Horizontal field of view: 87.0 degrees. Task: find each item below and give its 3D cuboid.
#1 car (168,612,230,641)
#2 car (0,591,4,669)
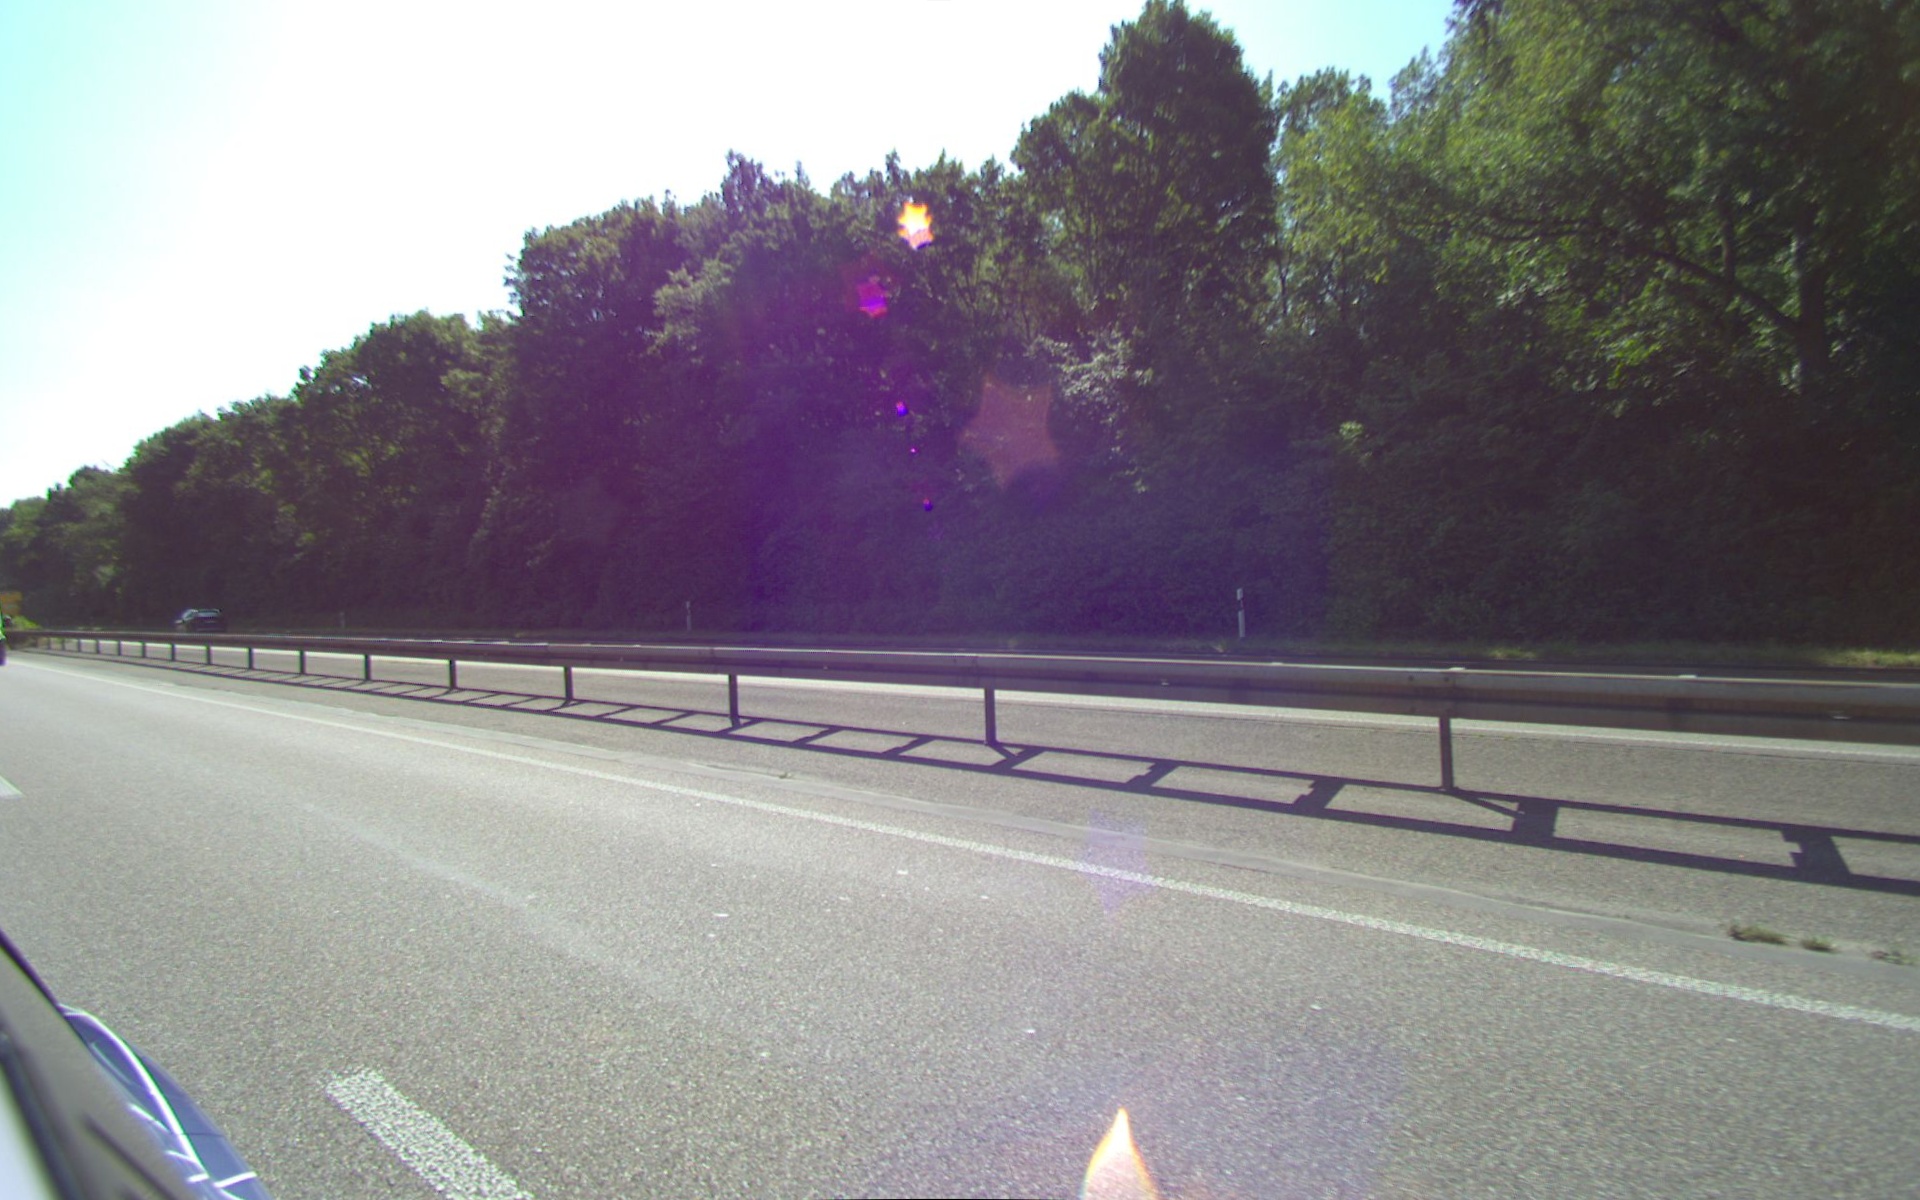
[{"bbox_3d":[-42.969,1.497,57.128,4.547,1.521,1.824,-1,0,40],"label":"car"},{"bbox_3d":[-32.742,1.004,32.846,4.635,2.462,2.020,-1,-1,41],"label":"car"}]
